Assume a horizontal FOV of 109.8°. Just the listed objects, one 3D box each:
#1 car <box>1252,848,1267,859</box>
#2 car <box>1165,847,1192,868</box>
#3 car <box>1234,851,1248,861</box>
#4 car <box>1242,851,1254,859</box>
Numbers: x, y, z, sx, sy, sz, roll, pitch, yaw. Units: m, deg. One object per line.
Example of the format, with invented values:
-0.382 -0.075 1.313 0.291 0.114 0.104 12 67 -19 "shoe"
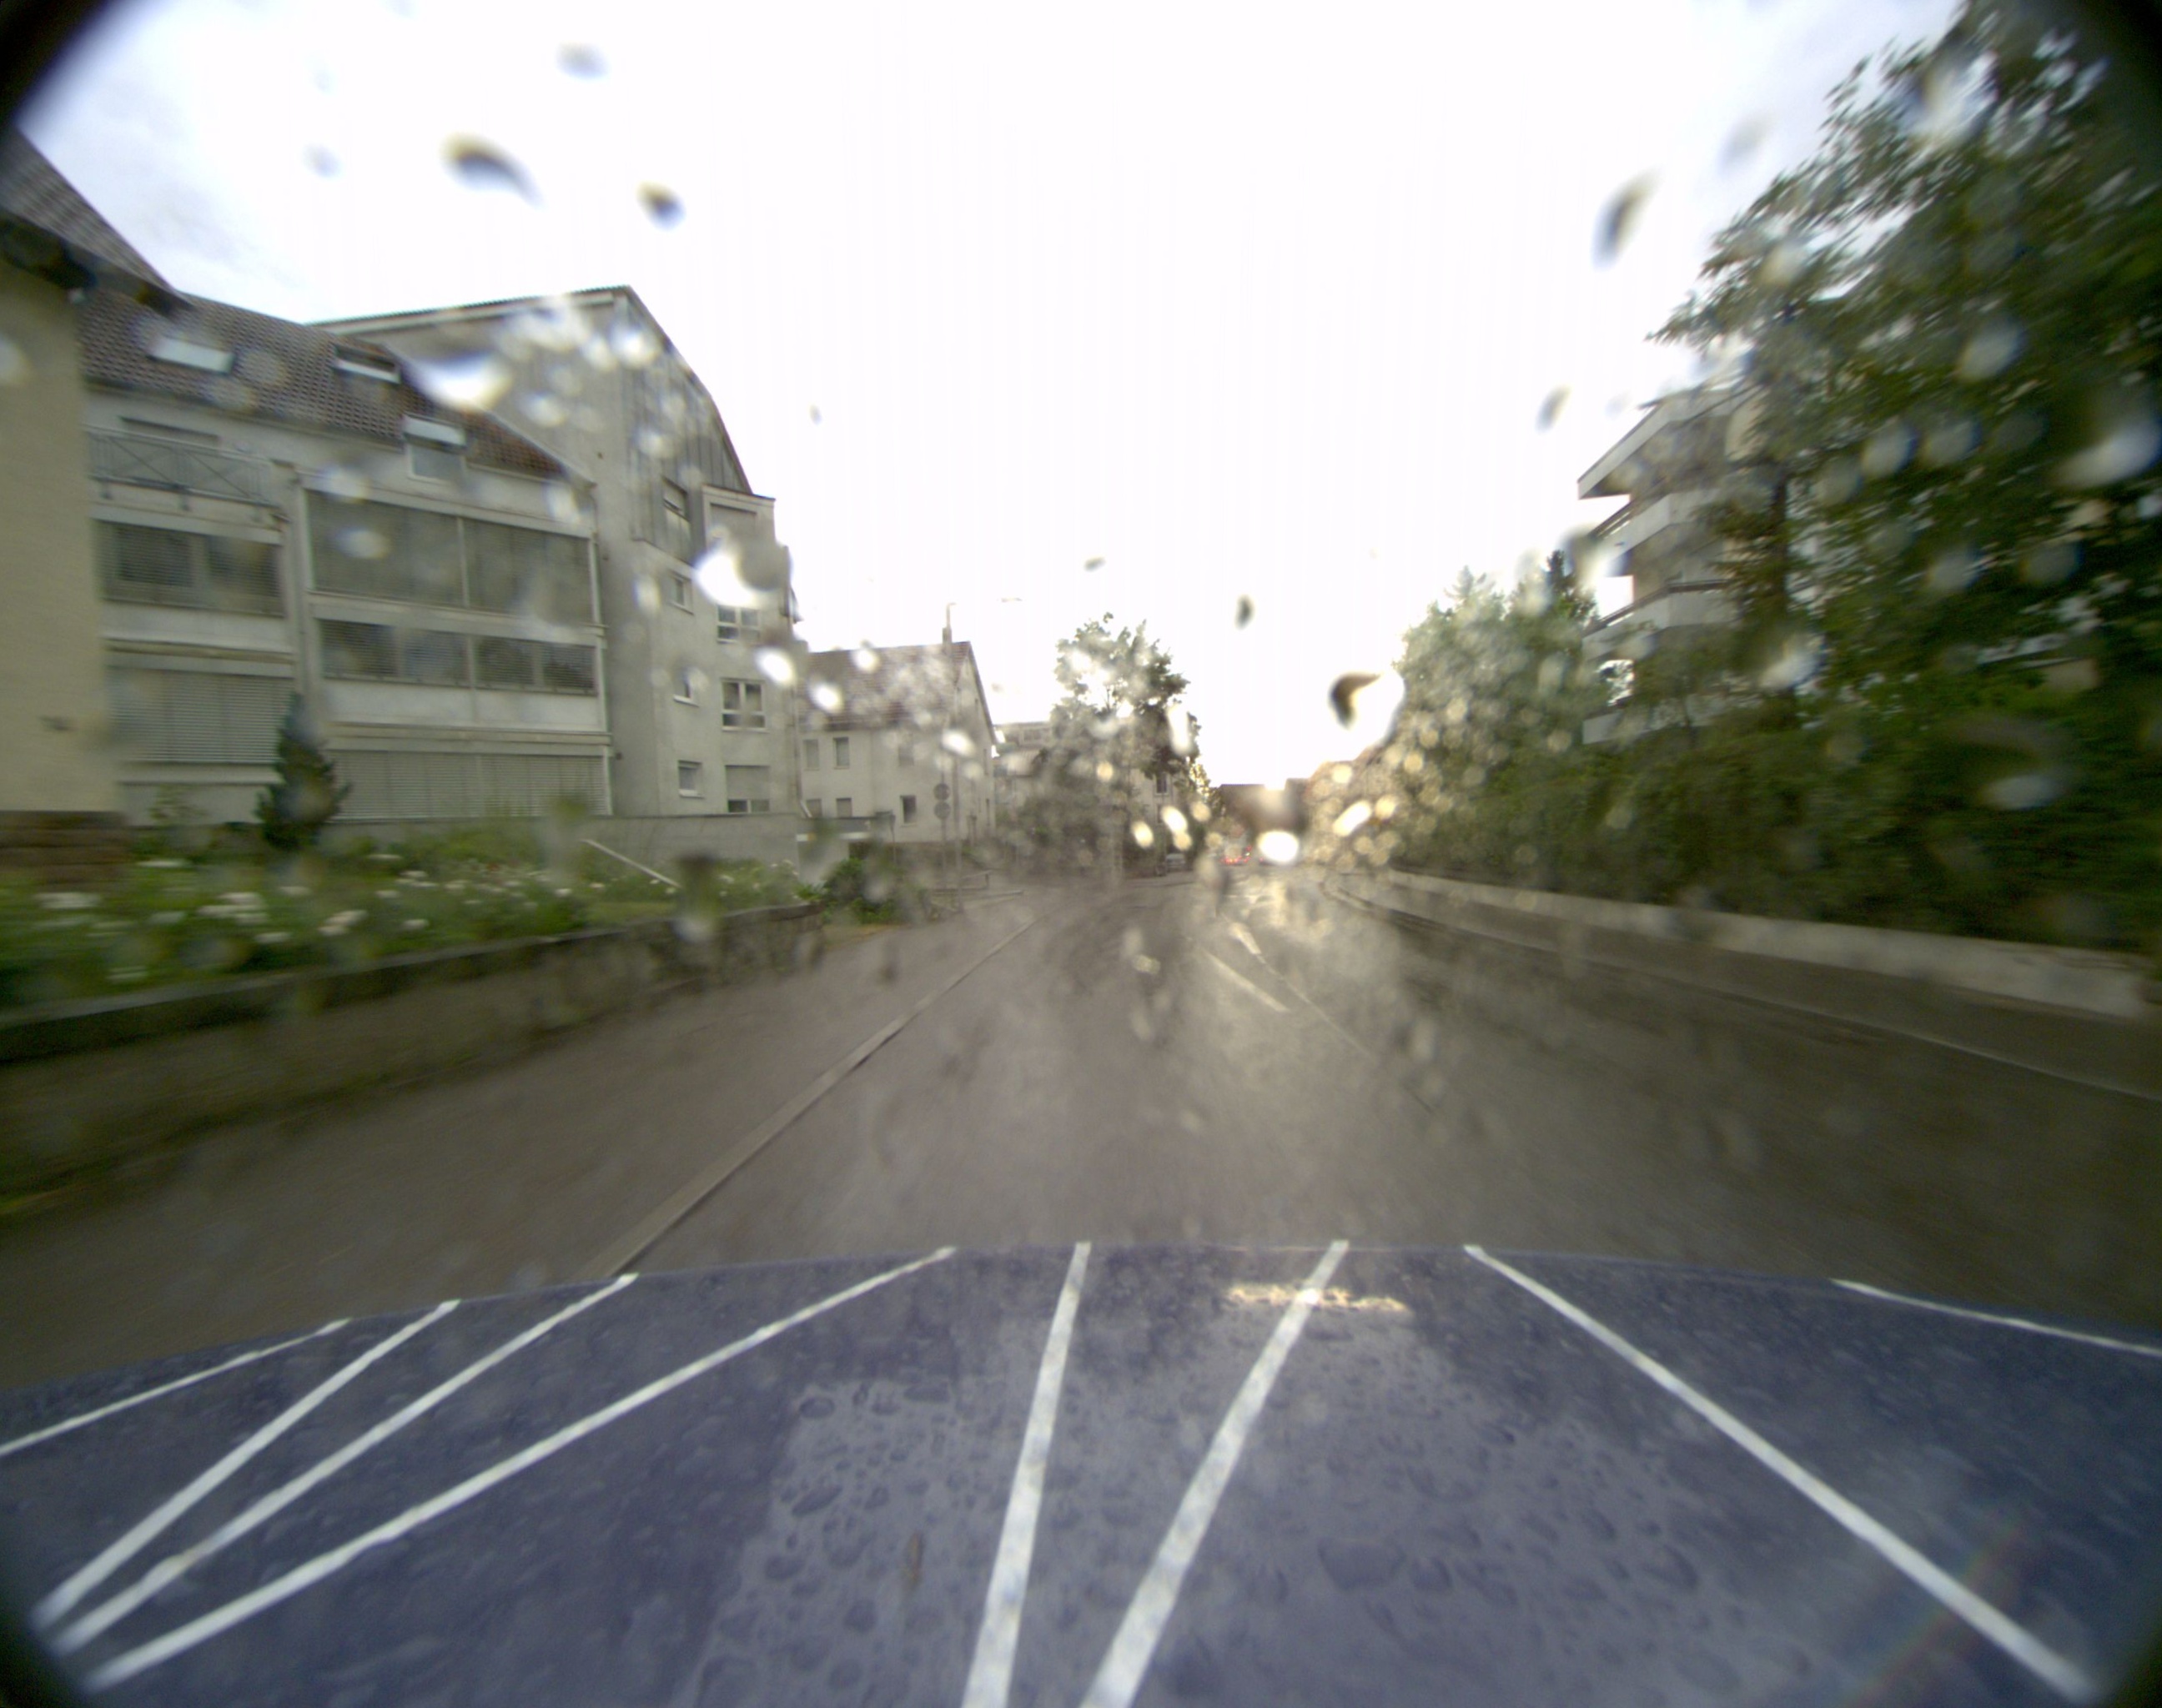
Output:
27.665 -0.099 117.865 1.748 1.562 3.815 -5 -1 7 "car"
8.111 0.297 62.967 1.783 1.561 4.732 -4 0 12 "car"
24.552 0.252 116.685 1.802 1.431 4.692 -2 -1 8 "car"
30.171 0.274 137.349 1.741 1.346 4.062 -2 0 6 "car"
